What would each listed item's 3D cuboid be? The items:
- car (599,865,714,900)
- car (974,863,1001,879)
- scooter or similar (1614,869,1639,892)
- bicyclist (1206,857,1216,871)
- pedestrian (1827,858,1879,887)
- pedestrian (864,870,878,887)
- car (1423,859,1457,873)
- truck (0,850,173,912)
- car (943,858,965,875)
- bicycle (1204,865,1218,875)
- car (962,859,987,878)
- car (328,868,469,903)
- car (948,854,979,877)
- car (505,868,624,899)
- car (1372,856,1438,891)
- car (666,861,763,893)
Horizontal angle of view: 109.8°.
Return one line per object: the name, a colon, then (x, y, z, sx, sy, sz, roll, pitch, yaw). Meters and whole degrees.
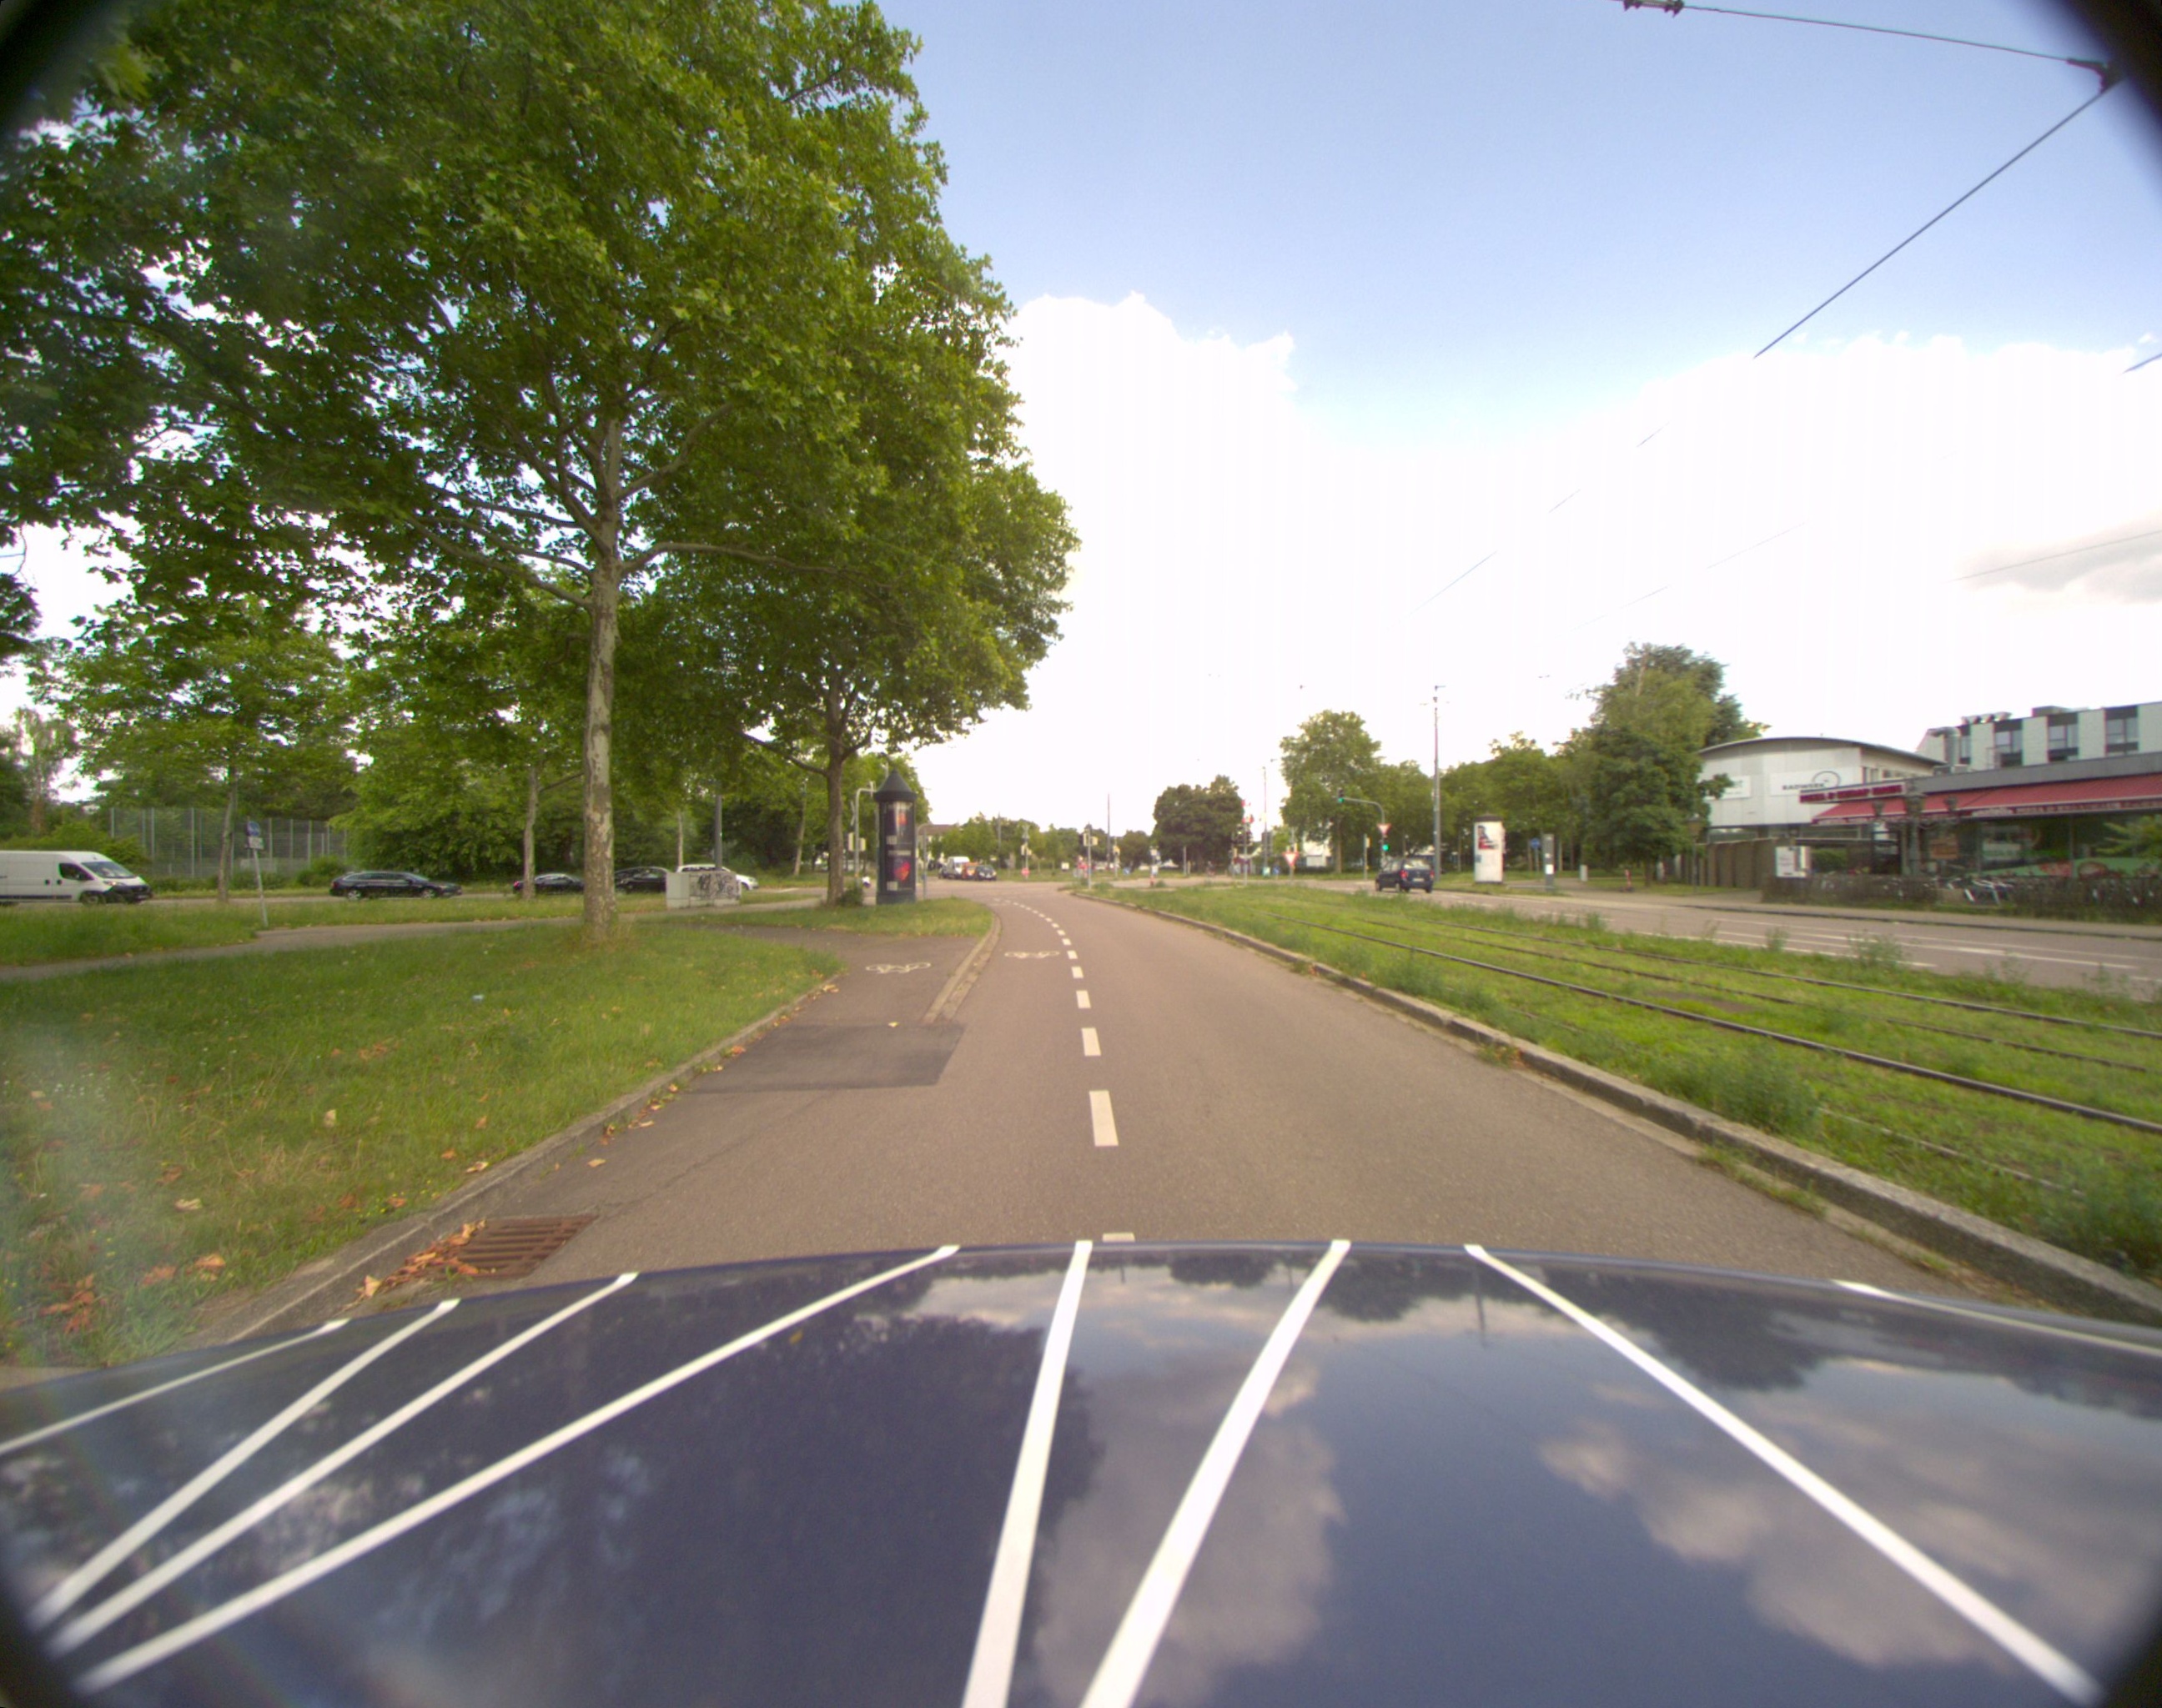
car: (-20.943, 1.384, 37.714, 4.691, 1.601, 1.996, 0, 1, -20)
car: (-9.246, 1.650, 74.886, 1.798, 1.530, 3.994, -1, 0, -19)
scooter or similar: (25.165, 1.223, 35.067, 0.427, 1.027, 1.224, -1, 0, 10)
bicyclist: (14.151, 1.105, 83.005, 0.805, 1.461, 0.832, -1, -1, -10)
pedestrian: (30.793, 0.727, 30.320, 1.156, 1.139, 0.932, 0, 0, 1)
pedestrian: (-13.269, 1.528, 47.970, 0.723, 1.028, 0.900, -1, 0, -20)
car: (39.713, 1.284, 84.012, 3.864, 1.514, 1.695, 0, 0, -35)
truck: (-44.888, 1.131, 33.126, 6.515, 2.580, 2.213, 0, 0, -20)
car: (-15.465, 1.521, 92.152, 1.798, 1.924, 4.361, -1, 0, -20)
bicycle: (14.191, 1.731, 82.900, 0.805, 1.053, 2.068, -1, -2, -10)
car: (-11.335, 1.519, 80.608, 1.798, 1.924, 4.361, -1, 0, -20)
car: (-33.068, 1.506, 36.994, 4.692, 1.504, 1.996, 0, 1, -21)
car: (-13.479, 1.271, 86.782, 2.242, 2.492, 5.716, -1, 0, -21)
car: (-26.581, 1.498, 39.325, 4.754, 1.461, 1.996, 0, 1, -21)
car: (15.532, 0.896, 36.580, 1.783, 1.617, 3.496, 0, 0, 2)
car: (-20.266, 1.239, 42.220, 4.692, 1.601, 1.996, 0, 1, -21)
